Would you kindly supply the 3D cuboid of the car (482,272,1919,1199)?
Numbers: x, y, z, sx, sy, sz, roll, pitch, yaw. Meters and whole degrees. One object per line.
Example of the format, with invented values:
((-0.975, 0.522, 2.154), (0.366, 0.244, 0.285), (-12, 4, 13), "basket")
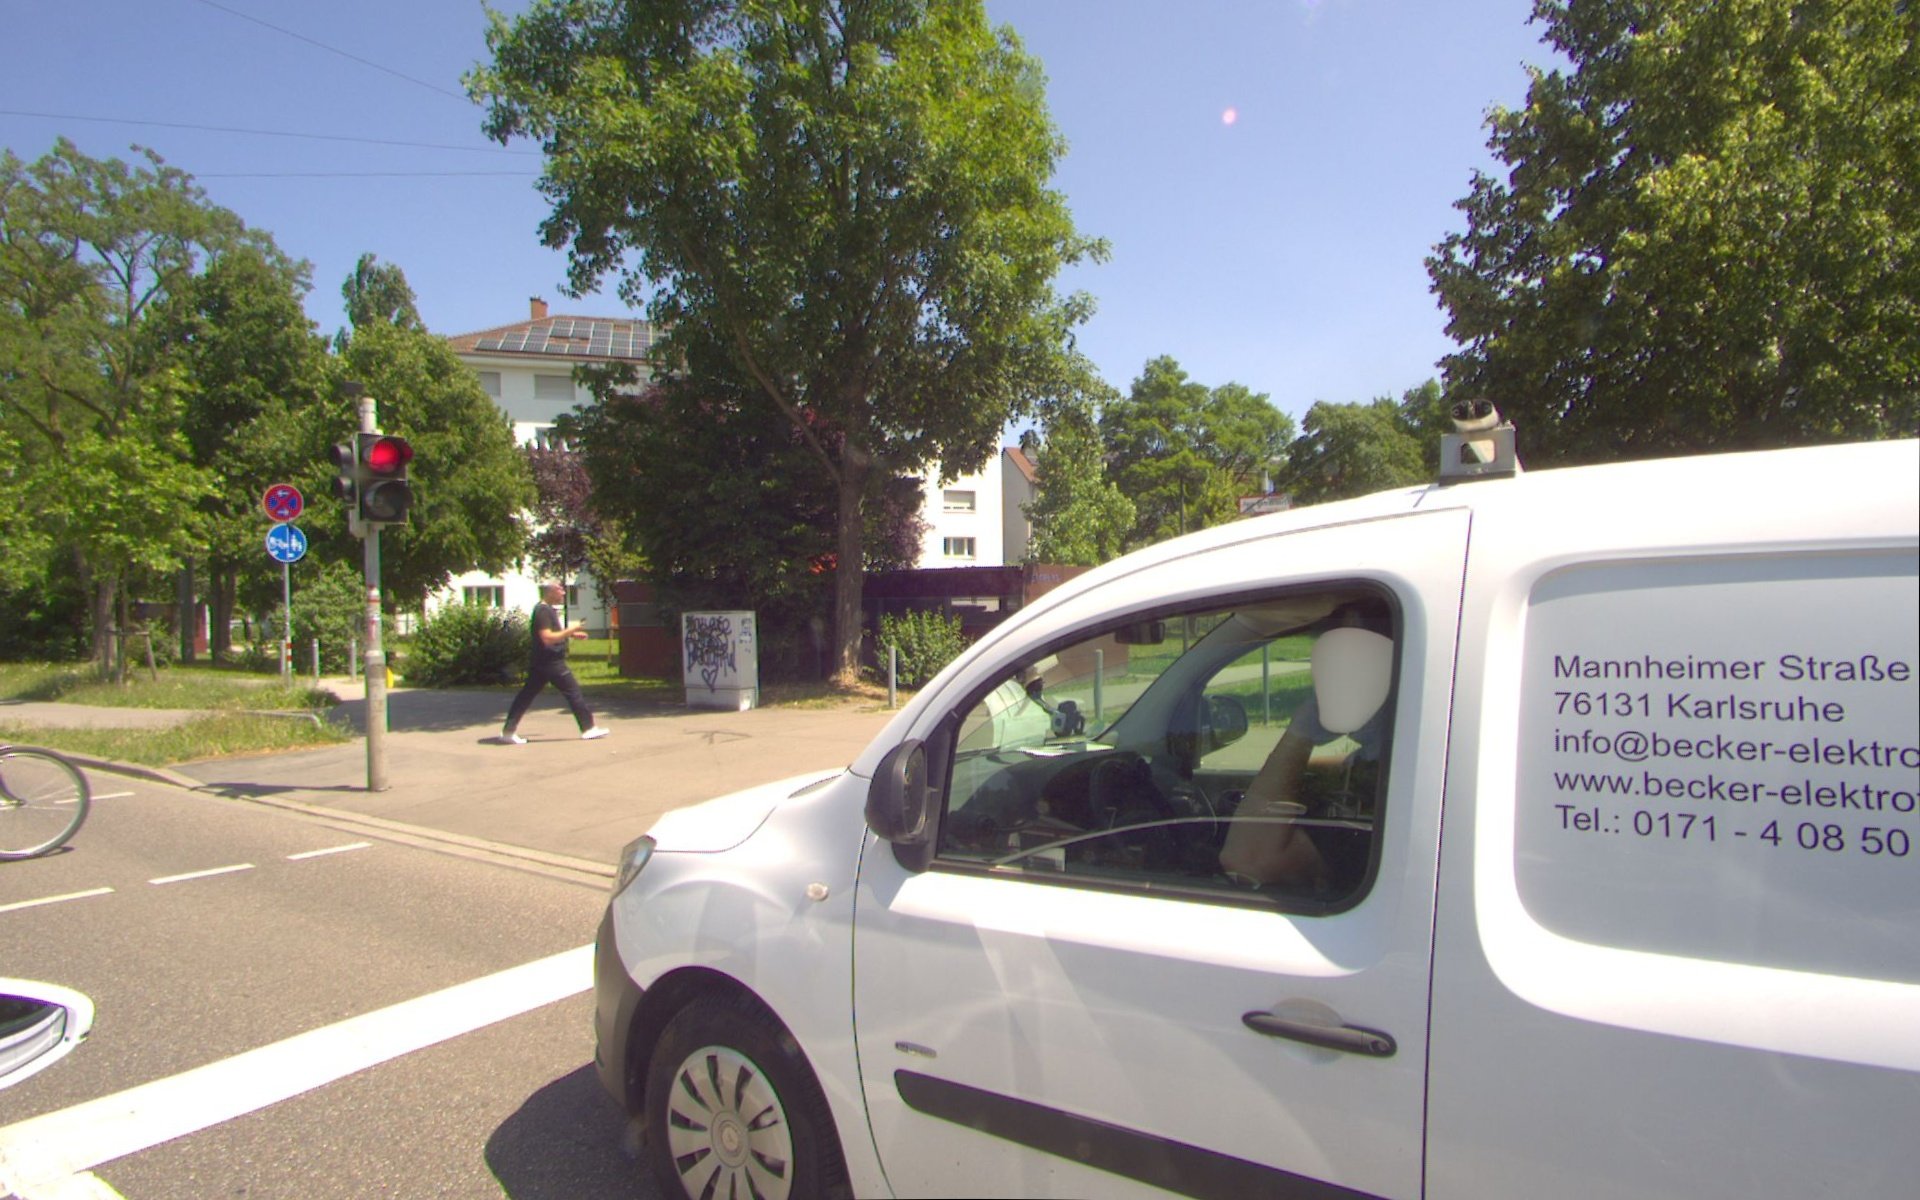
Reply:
((1.119, 0.569, 2.305), (4.384, 1.850, 1.990), (-1, 0, 32), "car")

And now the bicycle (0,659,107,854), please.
((-6.400, 0.976, 5.973), (0.535, 1.176, 1.947), (-2, -2, 43), "bicycle")

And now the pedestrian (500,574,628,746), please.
((-4.451, 0.639, 11.248), (1.171, 1.801, 0.835), (-2, 1, -30), "pedestrian")
